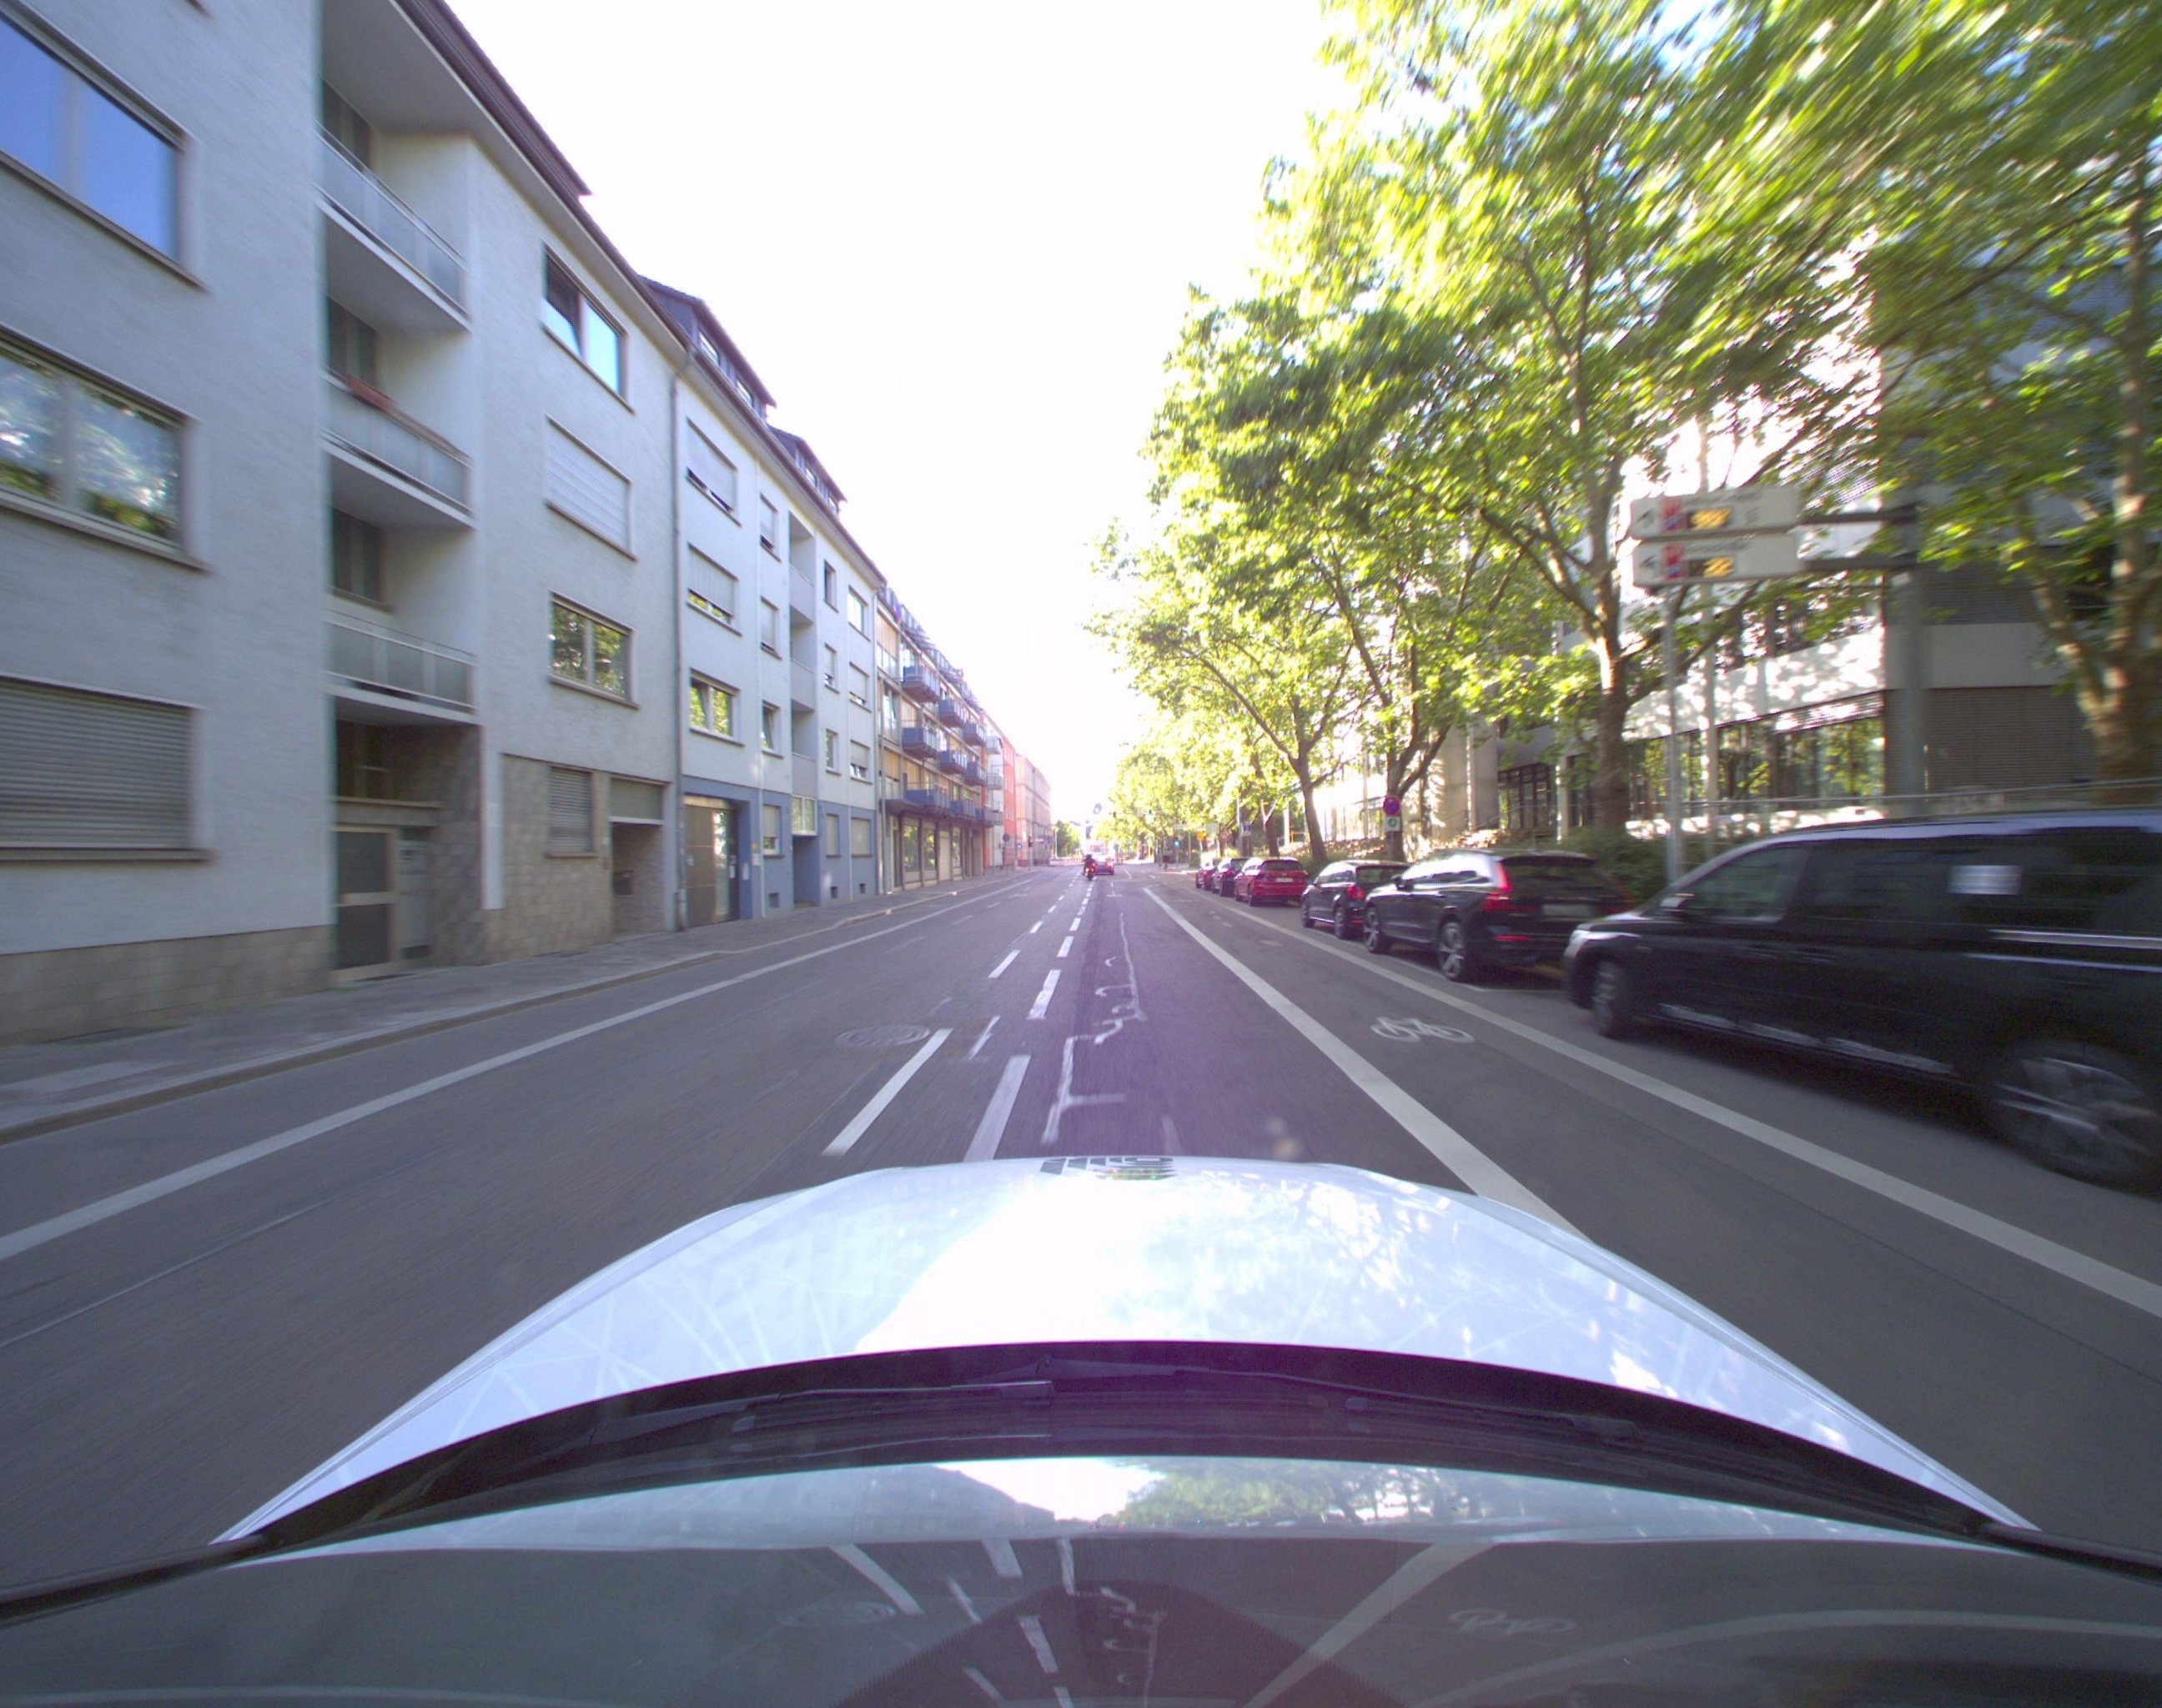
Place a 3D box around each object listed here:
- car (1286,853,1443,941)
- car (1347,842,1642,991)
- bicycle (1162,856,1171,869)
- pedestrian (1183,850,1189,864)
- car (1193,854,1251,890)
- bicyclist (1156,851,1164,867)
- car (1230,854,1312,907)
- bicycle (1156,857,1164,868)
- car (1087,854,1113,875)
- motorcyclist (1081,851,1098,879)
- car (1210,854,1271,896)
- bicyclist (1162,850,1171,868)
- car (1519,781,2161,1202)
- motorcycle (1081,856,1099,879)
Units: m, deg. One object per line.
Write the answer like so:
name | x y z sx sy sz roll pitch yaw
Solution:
car | 5.473 0.753 16.260 1.688 1.503 4.019 1 0 -1
car | 5.335 0.692 11.325 1.770 1.627 4.620 1 0 0
bicycle | 7.349 0.751 69.989 0.654 1.070 1.927 0 0 1
pedestrian | 13.434 0.428 104.369 0.618 1.774 0.575 0 -1 23
car | 6.037 0.735 35.365 1.688 1.449 4.434 1 0 -1
bicyclist | 7.616 0.475 78.636 0.654 1.530 0.906 0 -1 1
car | 5.887 0.763 25.717 1.686 1.479 4.320 1 0 2
bicycle | 7.616 0.829 78.598 0.654 1.111 2.186 0 0 1
car | 1.368 0.730 59.266 1.822 1.420 3.815 -1 0 1
motorcyclist | 0.511 0.635 48.332 1.009 1.602 1.406 -1 0 1
car | 5.976 0.737 30.955 1.686 1.466 4.068 1 0 2
bicyclist | 7.347 0.408 69.970 0.654 1.530 0.852 0 -1 1
car | 5.430 0.608 5.563 1.823 1.841 4.888 1 0 -7
motorcycle | 0.516 0.791 48.237 1.008 1.306 2.673 -1 0 1
